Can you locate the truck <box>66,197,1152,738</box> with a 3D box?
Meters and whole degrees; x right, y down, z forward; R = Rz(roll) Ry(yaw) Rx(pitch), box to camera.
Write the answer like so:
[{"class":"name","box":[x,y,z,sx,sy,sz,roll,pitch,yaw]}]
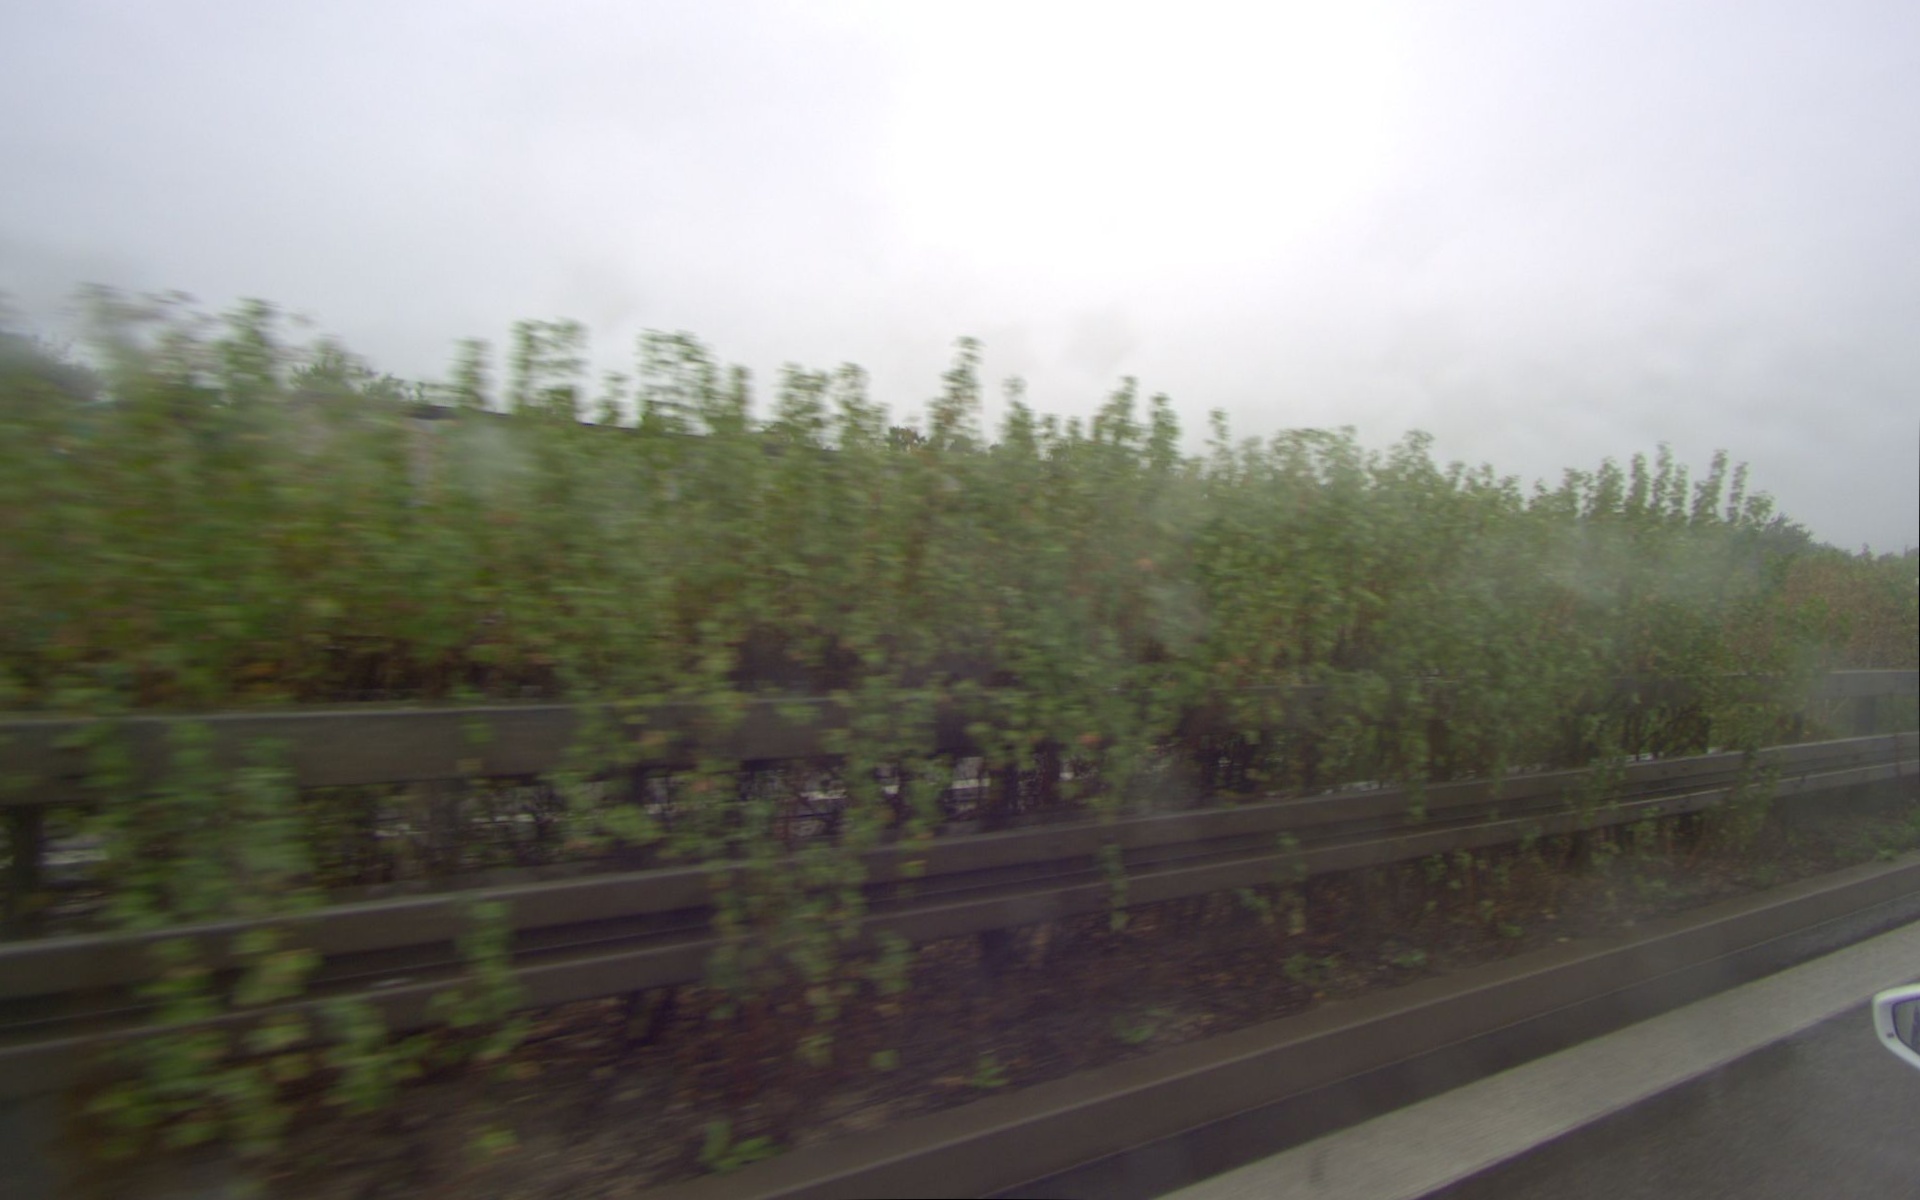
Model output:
[{"class":"truck","box":[-4.251,-1.370,17.169,15.806,6.207,4.095,1,0,-29]}]
